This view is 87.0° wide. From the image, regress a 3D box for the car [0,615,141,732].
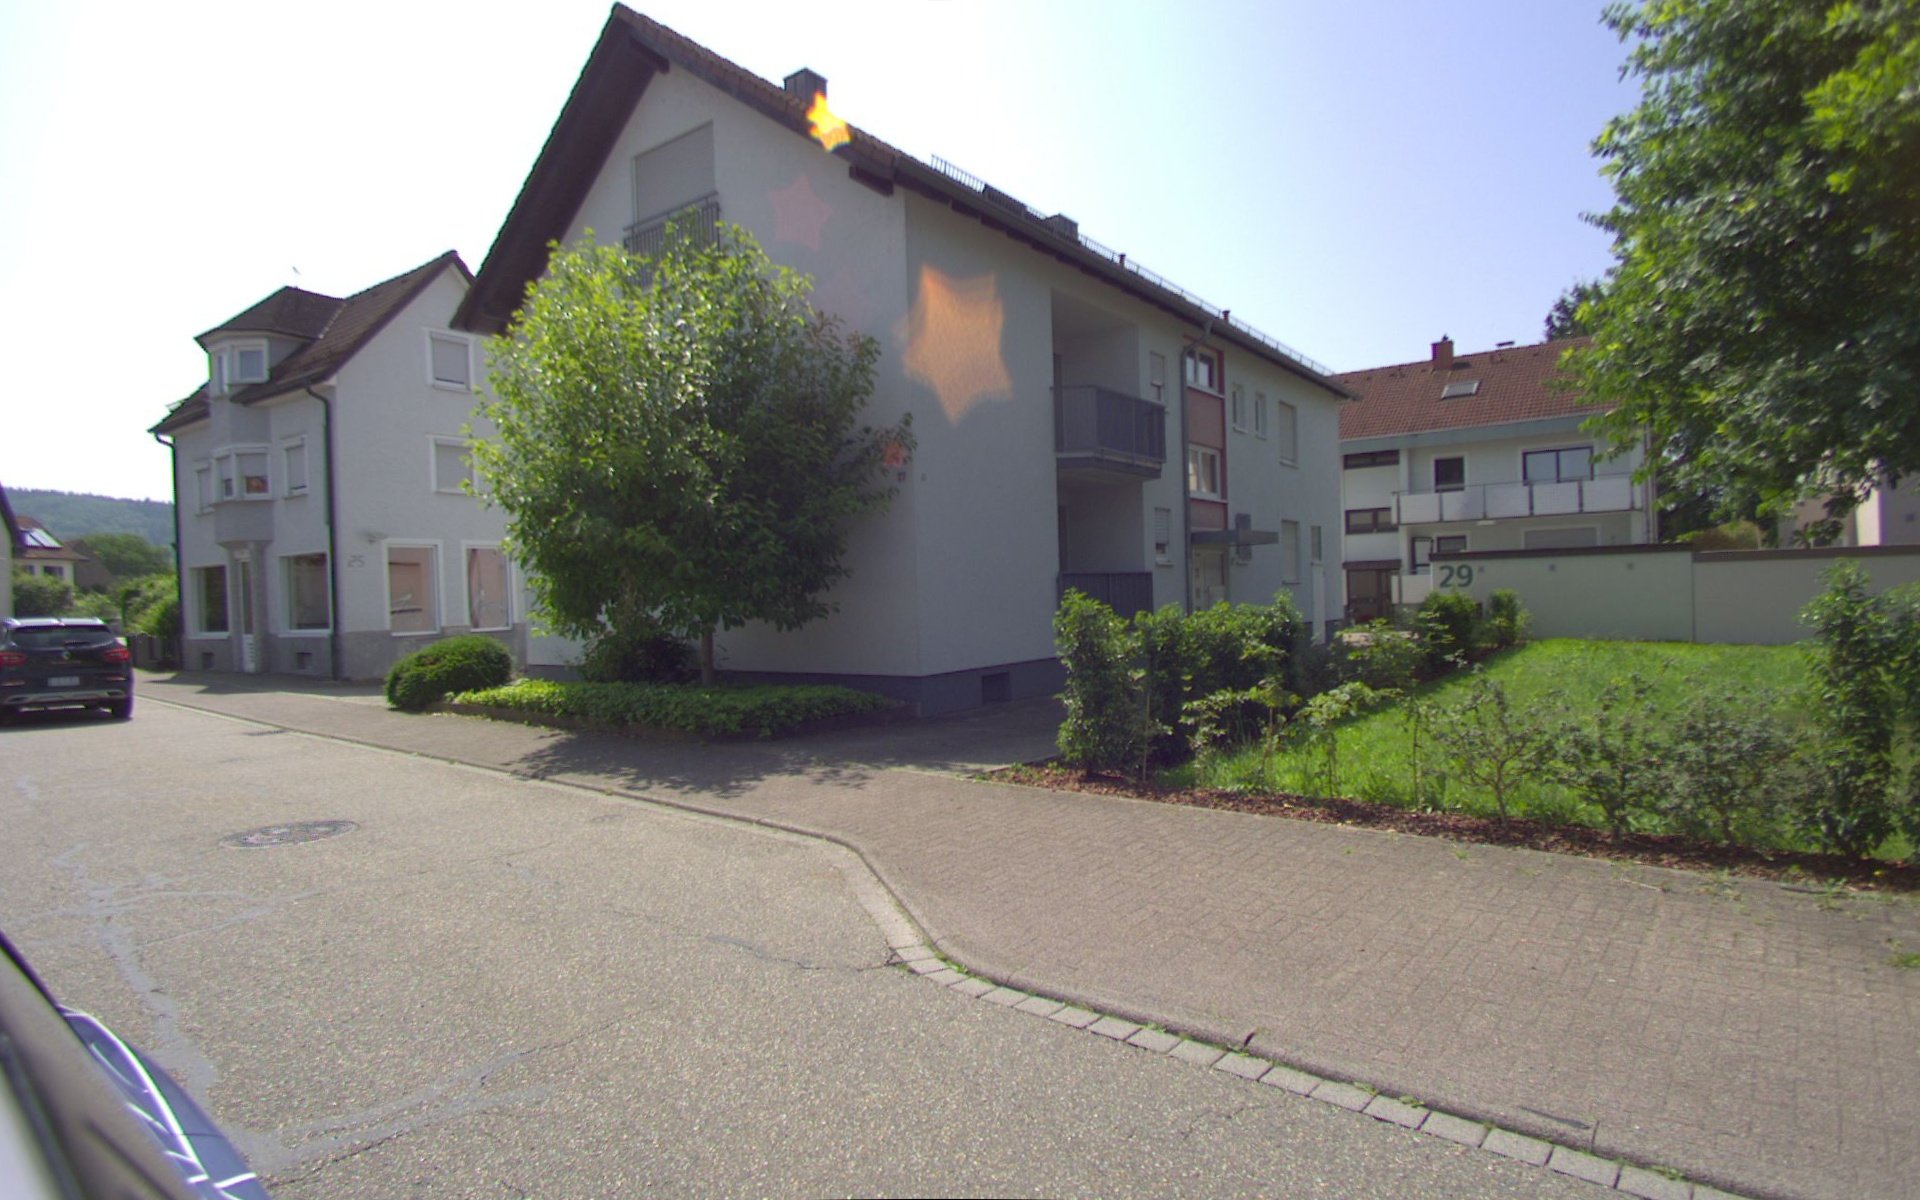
[{"bbox_3d":[-14.774,1.125,16.323,4.103,1.636,1.757,-2,-1,41],"label":"car"}]
